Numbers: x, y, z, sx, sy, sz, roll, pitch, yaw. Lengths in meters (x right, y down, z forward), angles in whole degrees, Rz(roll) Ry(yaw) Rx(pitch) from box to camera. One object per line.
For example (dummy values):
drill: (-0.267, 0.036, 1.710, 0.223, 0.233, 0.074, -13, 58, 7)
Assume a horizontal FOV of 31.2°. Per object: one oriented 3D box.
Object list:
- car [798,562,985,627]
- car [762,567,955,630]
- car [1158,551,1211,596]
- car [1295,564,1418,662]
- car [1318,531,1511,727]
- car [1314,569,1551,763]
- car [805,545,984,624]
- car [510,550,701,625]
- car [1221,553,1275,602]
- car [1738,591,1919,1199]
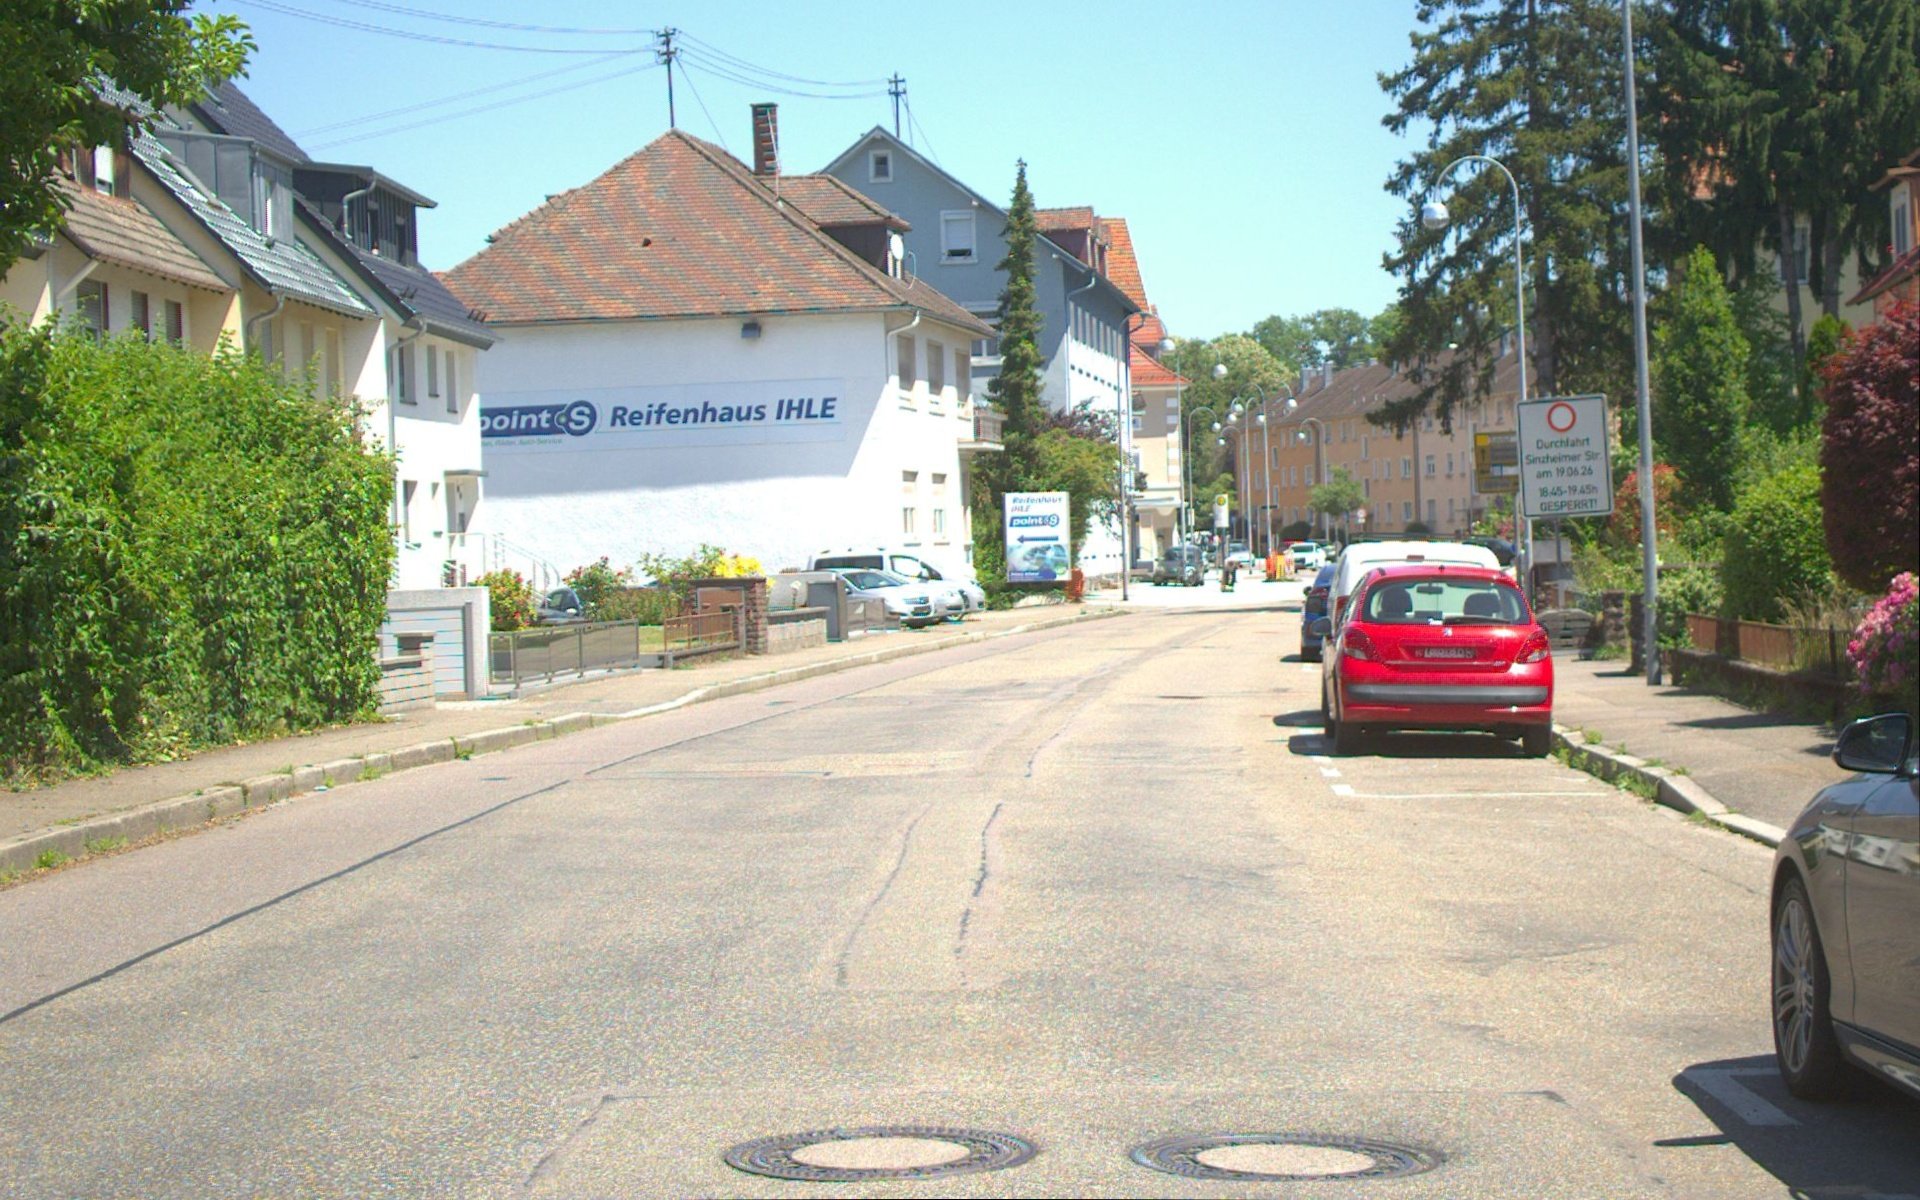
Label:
car: (-1.582, -0.137, 80.345, 4.130, 1.389, 1.828, -1, 1, 7)
car: (-2.296, -0.036, 77.505, 4.138, 1.339, 1.907, 0, 1, 41)
car: (8.650, -1.039, 132.227, 1.757, 1.650, 3.999, -1, 1, 7)
car: (6.047, 0.165, 52.196, 1.778, 1.401, 4.285, 0, 1, 7)
car: (4.329, 0.265, 33.164, 1.664, 1.749, 3.999, 1, 0, 5)
car: (3.804, 0.489, 28.188, 1.664, 1.450, 4.000, -1, 1, 4)
car: (-1.554, -0.385, 82.808, 4.129, 1.768, 1.828, -1, 1, 4)
car: (-7.473, -0.267, 72.272, 3.997, 1.505, 1.796, 0, 2, 43)
car: (10.377, -0.814, 123.633, 1.757, 1.650, 3.999, -1, 1, 7)
car: (3.016, 0.694, 7.707, 1.656, 1.393, 4.000, -1, 1, 1)
